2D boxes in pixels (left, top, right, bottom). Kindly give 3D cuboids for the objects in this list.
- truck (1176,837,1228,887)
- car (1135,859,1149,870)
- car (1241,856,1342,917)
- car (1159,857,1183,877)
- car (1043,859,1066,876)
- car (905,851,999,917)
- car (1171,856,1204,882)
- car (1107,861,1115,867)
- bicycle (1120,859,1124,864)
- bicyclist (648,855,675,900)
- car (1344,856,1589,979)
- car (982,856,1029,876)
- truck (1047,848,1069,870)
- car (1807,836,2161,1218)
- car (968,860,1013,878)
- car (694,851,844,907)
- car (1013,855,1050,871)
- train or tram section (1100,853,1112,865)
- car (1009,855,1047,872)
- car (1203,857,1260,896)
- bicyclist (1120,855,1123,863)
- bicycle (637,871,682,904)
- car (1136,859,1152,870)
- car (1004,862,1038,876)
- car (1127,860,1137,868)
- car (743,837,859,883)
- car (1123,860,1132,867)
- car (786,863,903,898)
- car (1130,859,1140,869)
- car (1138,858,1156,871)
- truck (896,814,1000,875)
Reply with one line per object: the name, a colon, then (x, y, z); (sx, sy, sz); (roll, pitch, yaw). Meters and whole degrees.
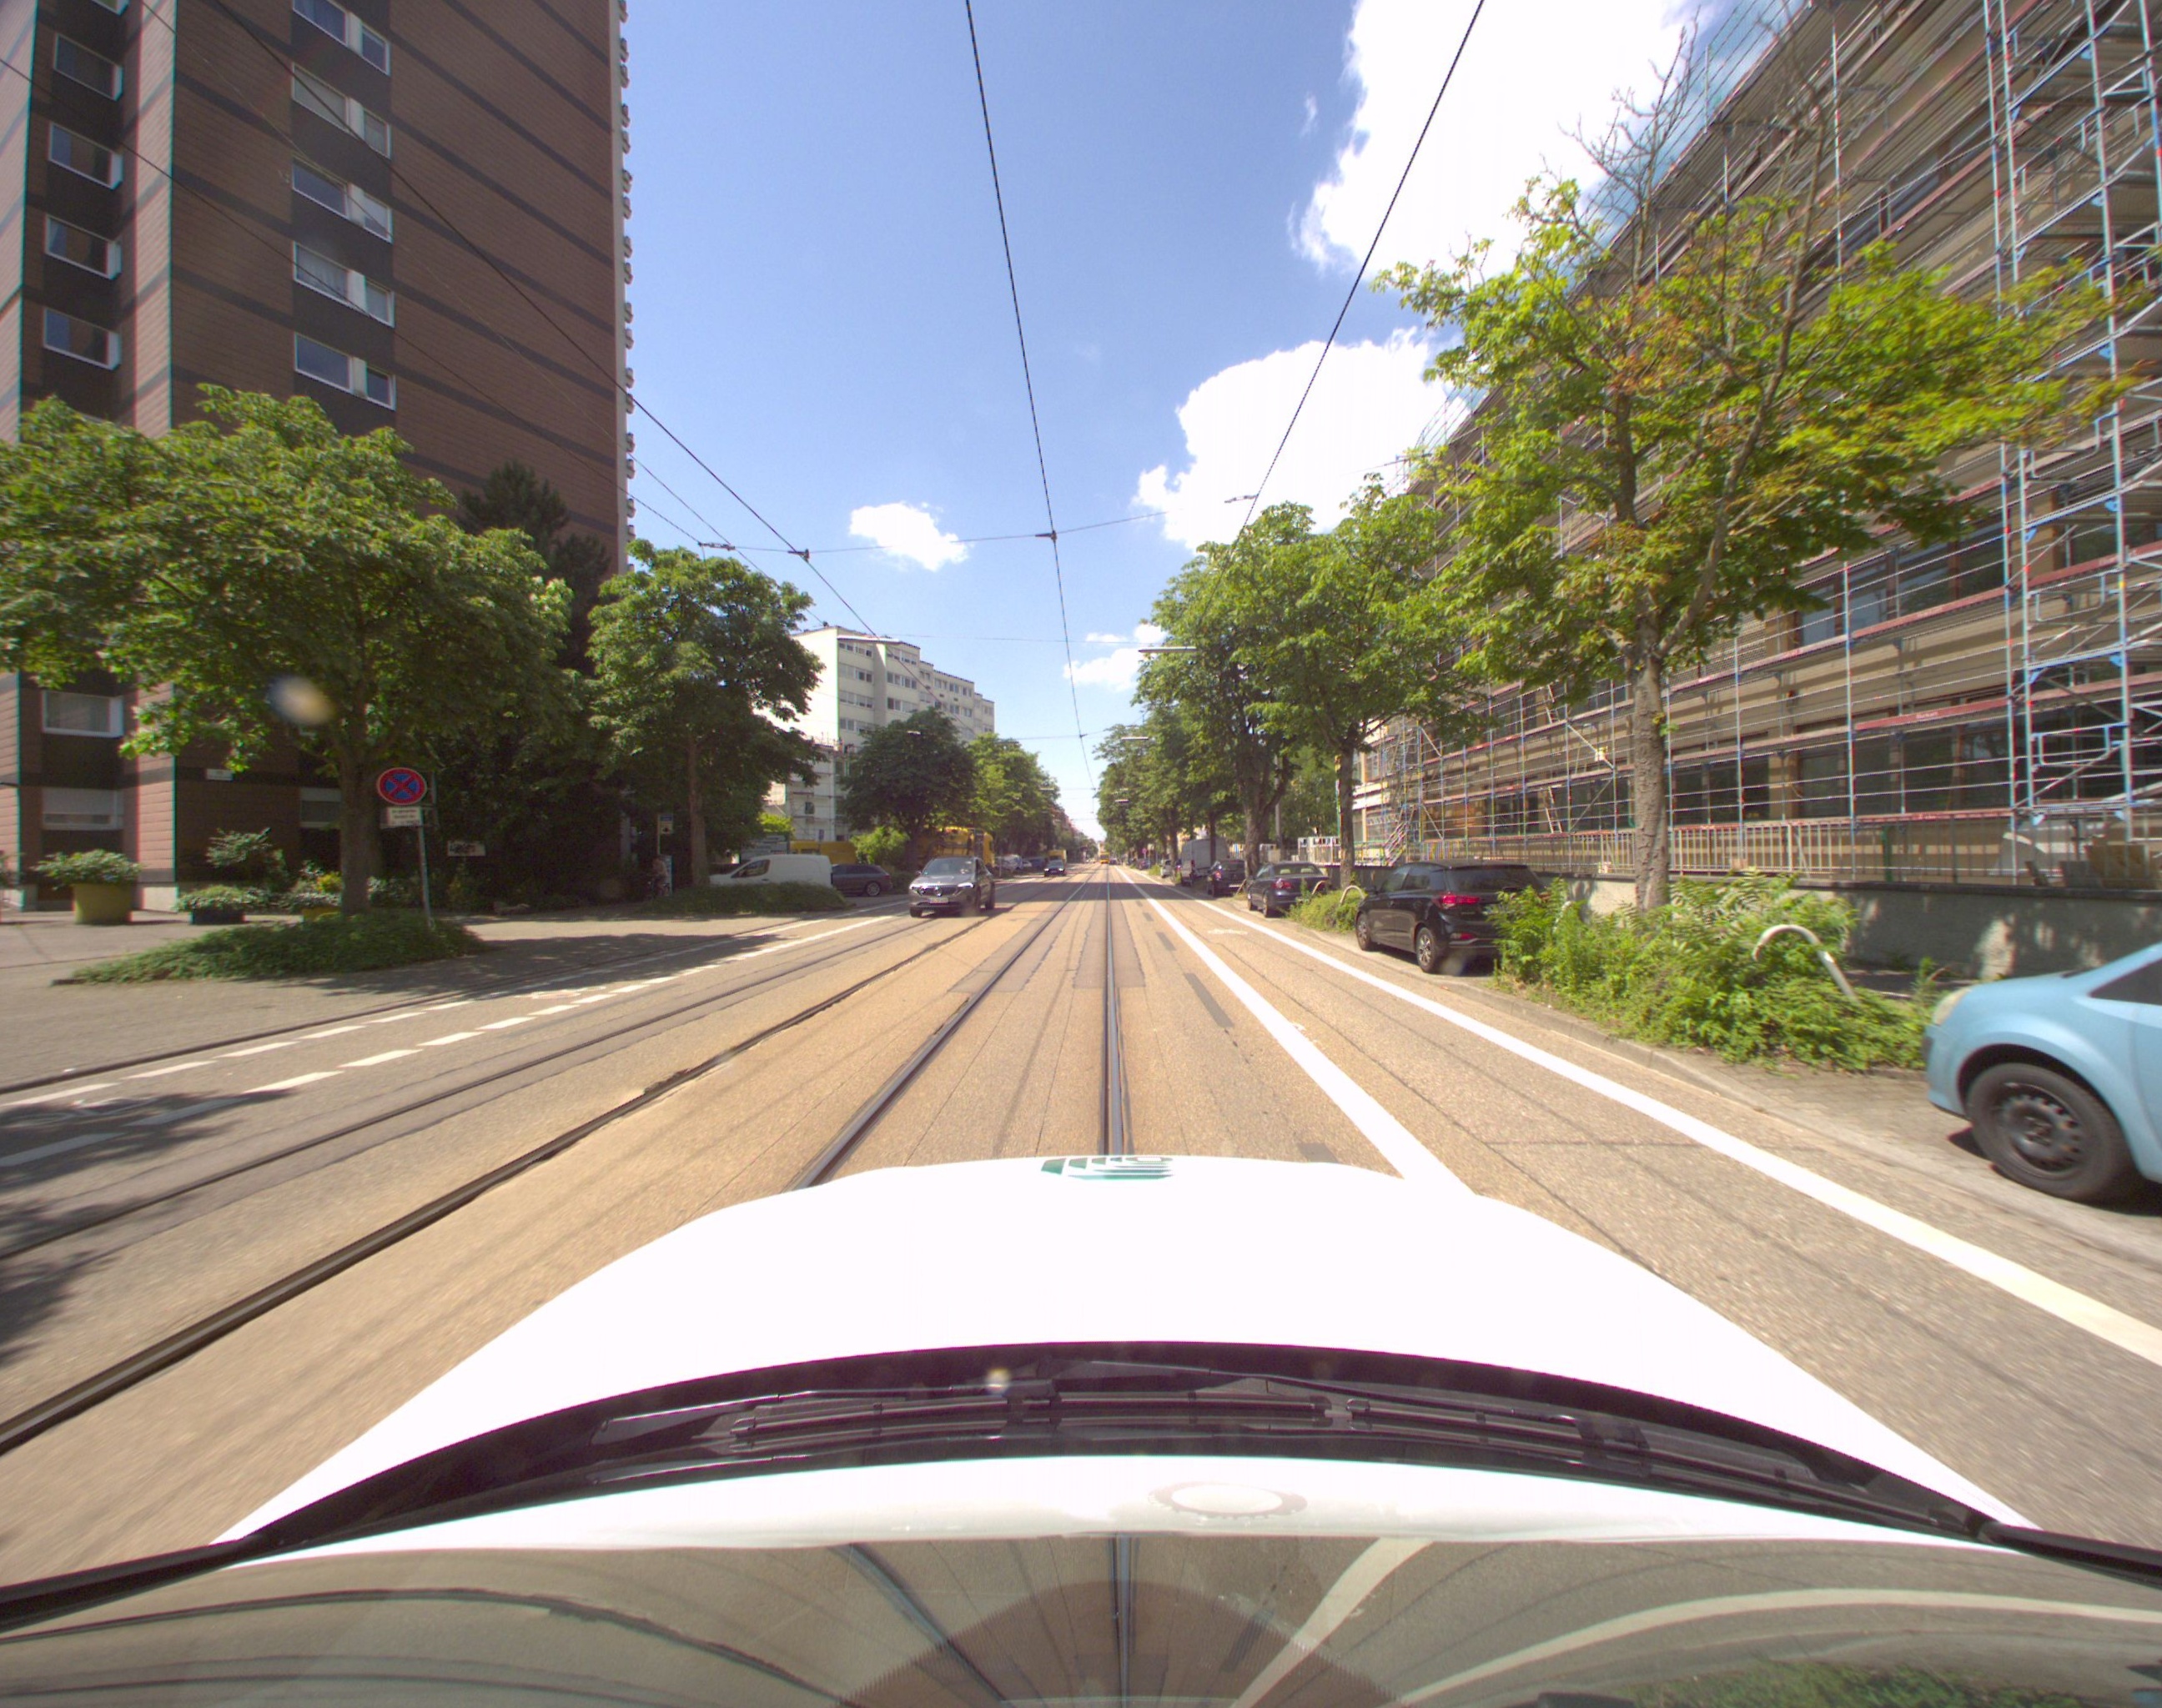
truck: (6.404, 0.398, 43.831); (2.007, 2.489, 5.957); (-1, 0, 1)
car: (8.718, 1.522, 116.375); (1.704, 1.423, 4.244); (-2, -1, 1)
car: (5.679, 0.819, 22.483); (1.817, 1.471, 4.490); (-1, 0, 3)
car: (6.993, 0.989, 63.738); (1.637, 1.534, 3.788); (-1, 0, 3)
car: (-2.309, 1.167, 71.987); (1.767, 1.397, 4.289); (-1, 0, 2)
car: (-3.553, 0.782, 23.103); (1.824, 1.681, 4.186); (-1, 0, 2)
car: (6.631, 0.926, 51.012); (1.638, 1.534, 3.948); (-1, 0, 1)
car: (6.823, 2.202, 183.705); (1.774, 1.346, 3.417); (-1, -1, 2)
bicycle: (7.779, 1.377, 155.091); (0.636, 0.969, 1.781); (0, -2, 1)
bicyclist: (-13.933, 0.776, 27.041); (0.479, 1.481, 0.780); (0, 0, 0)
car: (5.290, 0.769, 11.814); (1.665, 1.438, 4.042); (-1, 0, 1)
car: (-8.049, 1.273, 86.929); (1.898, 1.935, 4.785); (-4, -1, 44)
truck: (-3.147, 0.716, 113.227); (2.350, 2.852, 7.384); (-2, 0, 3)
car: (5.103, 0.672, 2.709); (1.665, 1.517, 4.202); (-1, 0, 1)
car: (-8.139, 1.334, 73.738); (1.740, 1.507, 3.731); (-3, -1, 44)
car: (-10.657, 0.818, 27.902); (4.563, 1.791, 1.882); (0, 0, -31)
car: (-6.853, 1.261, 113.055); (4.785, 2.062, 2.003); (-2, -1, -37)
train or tram section: (7.232, 1.414, 232.884); (3.023, 3.438, 11.977); (-1, -1, 3)
car: (-6.926, 1.202, 106.866); (4.759, 1.955, 1.824); (-2, -1, -44)
car: (6.102, 0.863, 33.376); (1.816, 1.471, 4.405); (-1, 0, 4)
bicyclist: (7.759, 0.934, 155.179); (0.620, 1.616, 0.864); (0, -2, 0)
bicycle: (-13.935, 1.089, 27.002); (0.516, 1.047, 1.876); (0, 0, 0)
car: (8.447, 1.403, 109.630); (1.869, 1.455, 4.530); (-2, -1, 2)
car: (-7.382, 1.849, 100.299); (1.740, 1.433, 4.024); (-5, -1, 44)
car: (9.861, 1.878, 157.607); (1.704, 1.423, 4.310); (-2, -1, 1)
car: (-16.800, 0.420, 49.304); (2.157, 2.566, 6.766); (-1, -2, 32)
car: (10.073, 2.037, 175.961); (1.704, 1.423, 4.310); (-2, -1, 1)
car: (-10.072, 1.071, 34.784); (4.467, 1.394, 1.753); (0, 0, -37)
car: (9.187, 1.782, 138.376); (1.586, 1.617, 3.908); (-2, -1, 1)
car: (7.877, 1.221, 97.207); (1.634, 1.485, 3.870); (-2, -1, -1)
truck: (-9.068, -0.526, 57.412); (2.695, 3.842, 11.009); (0, -1, 16)
